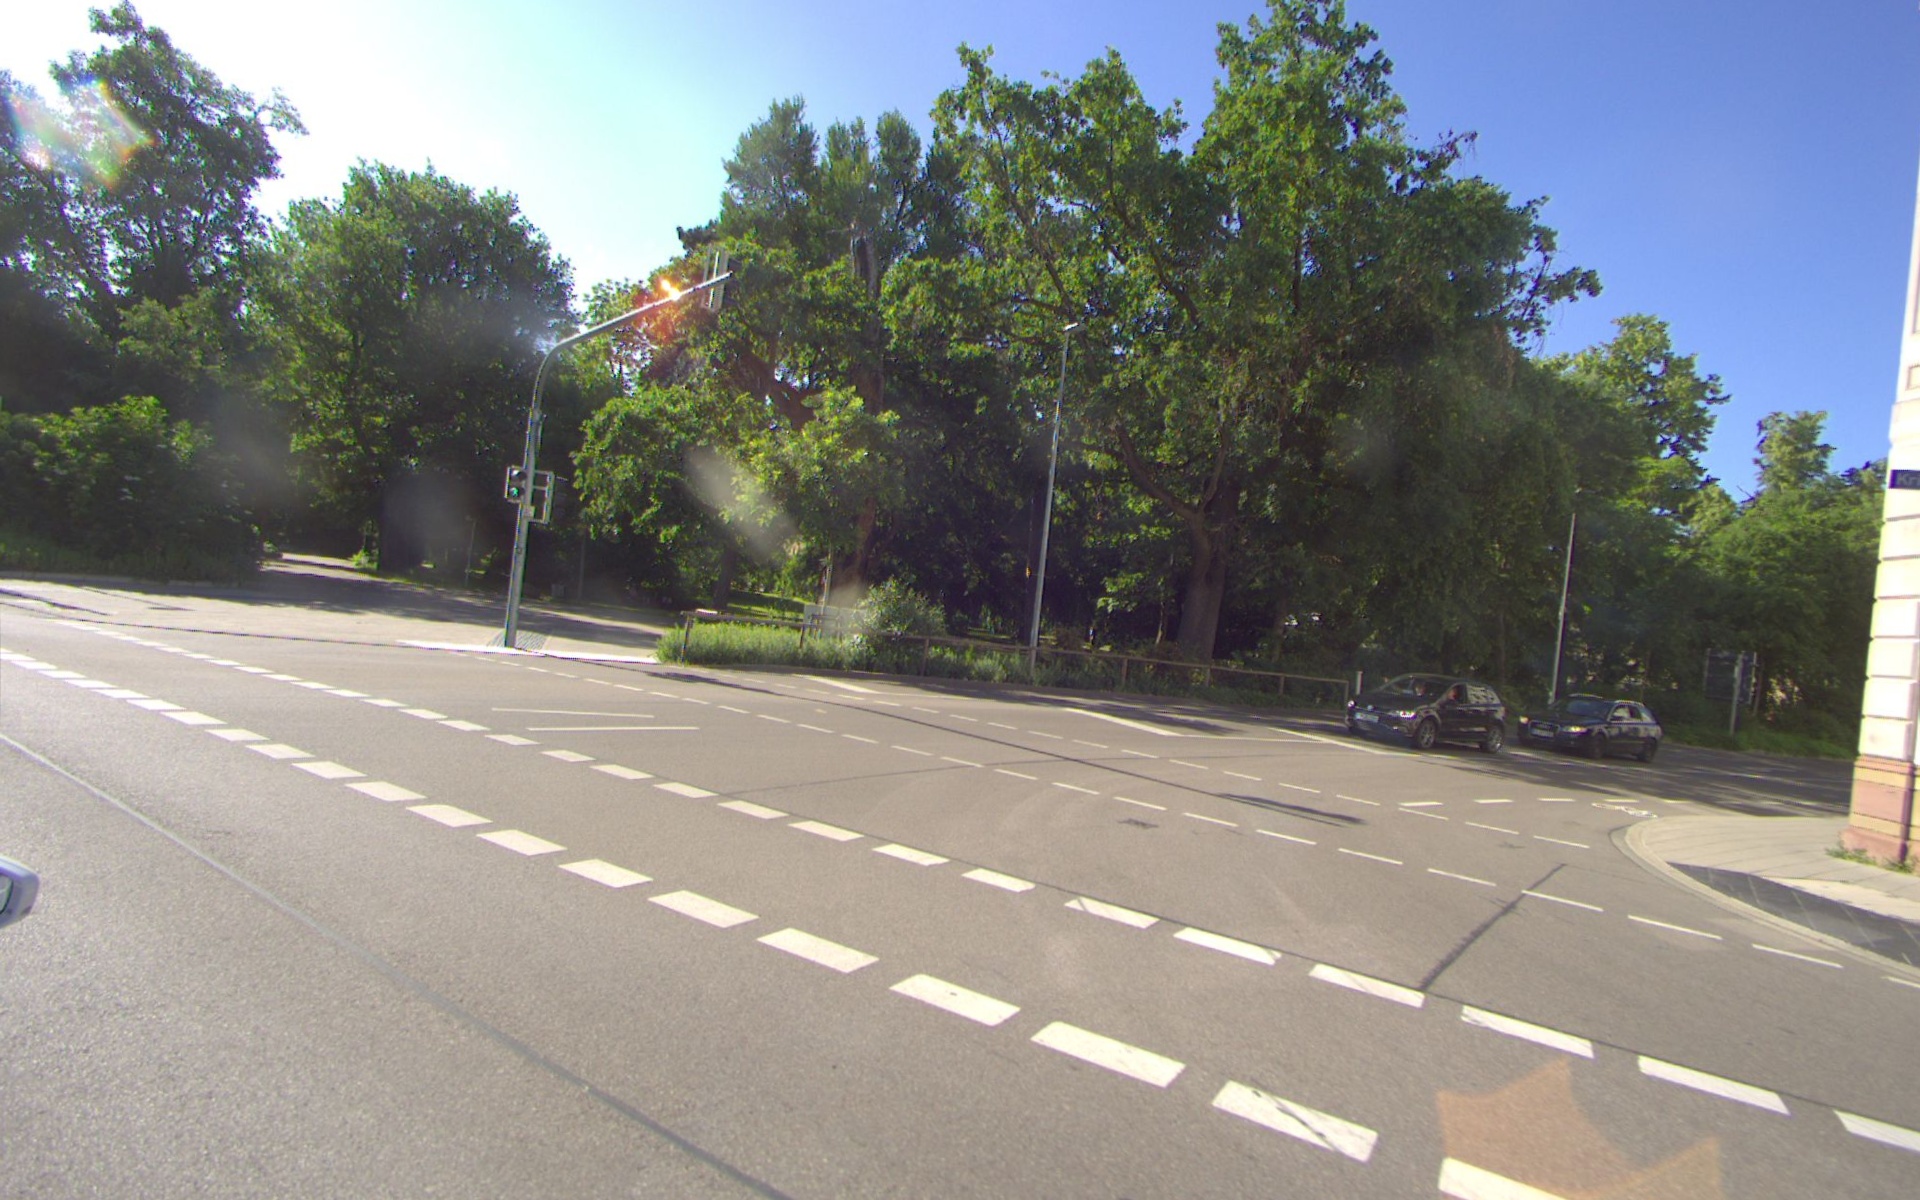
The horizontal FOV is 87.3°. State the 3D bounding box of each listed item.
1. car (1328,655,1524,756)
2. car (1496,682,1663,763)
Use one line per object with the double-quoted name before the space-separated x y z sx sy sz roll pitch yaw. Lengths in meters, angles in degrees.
"car" 9.576 2.188 20.604 3.964 1.500 1.716 9 1 -35
"car" 15.070 2.978 24.422 3.962 1.456 1.843 8 1 -34
